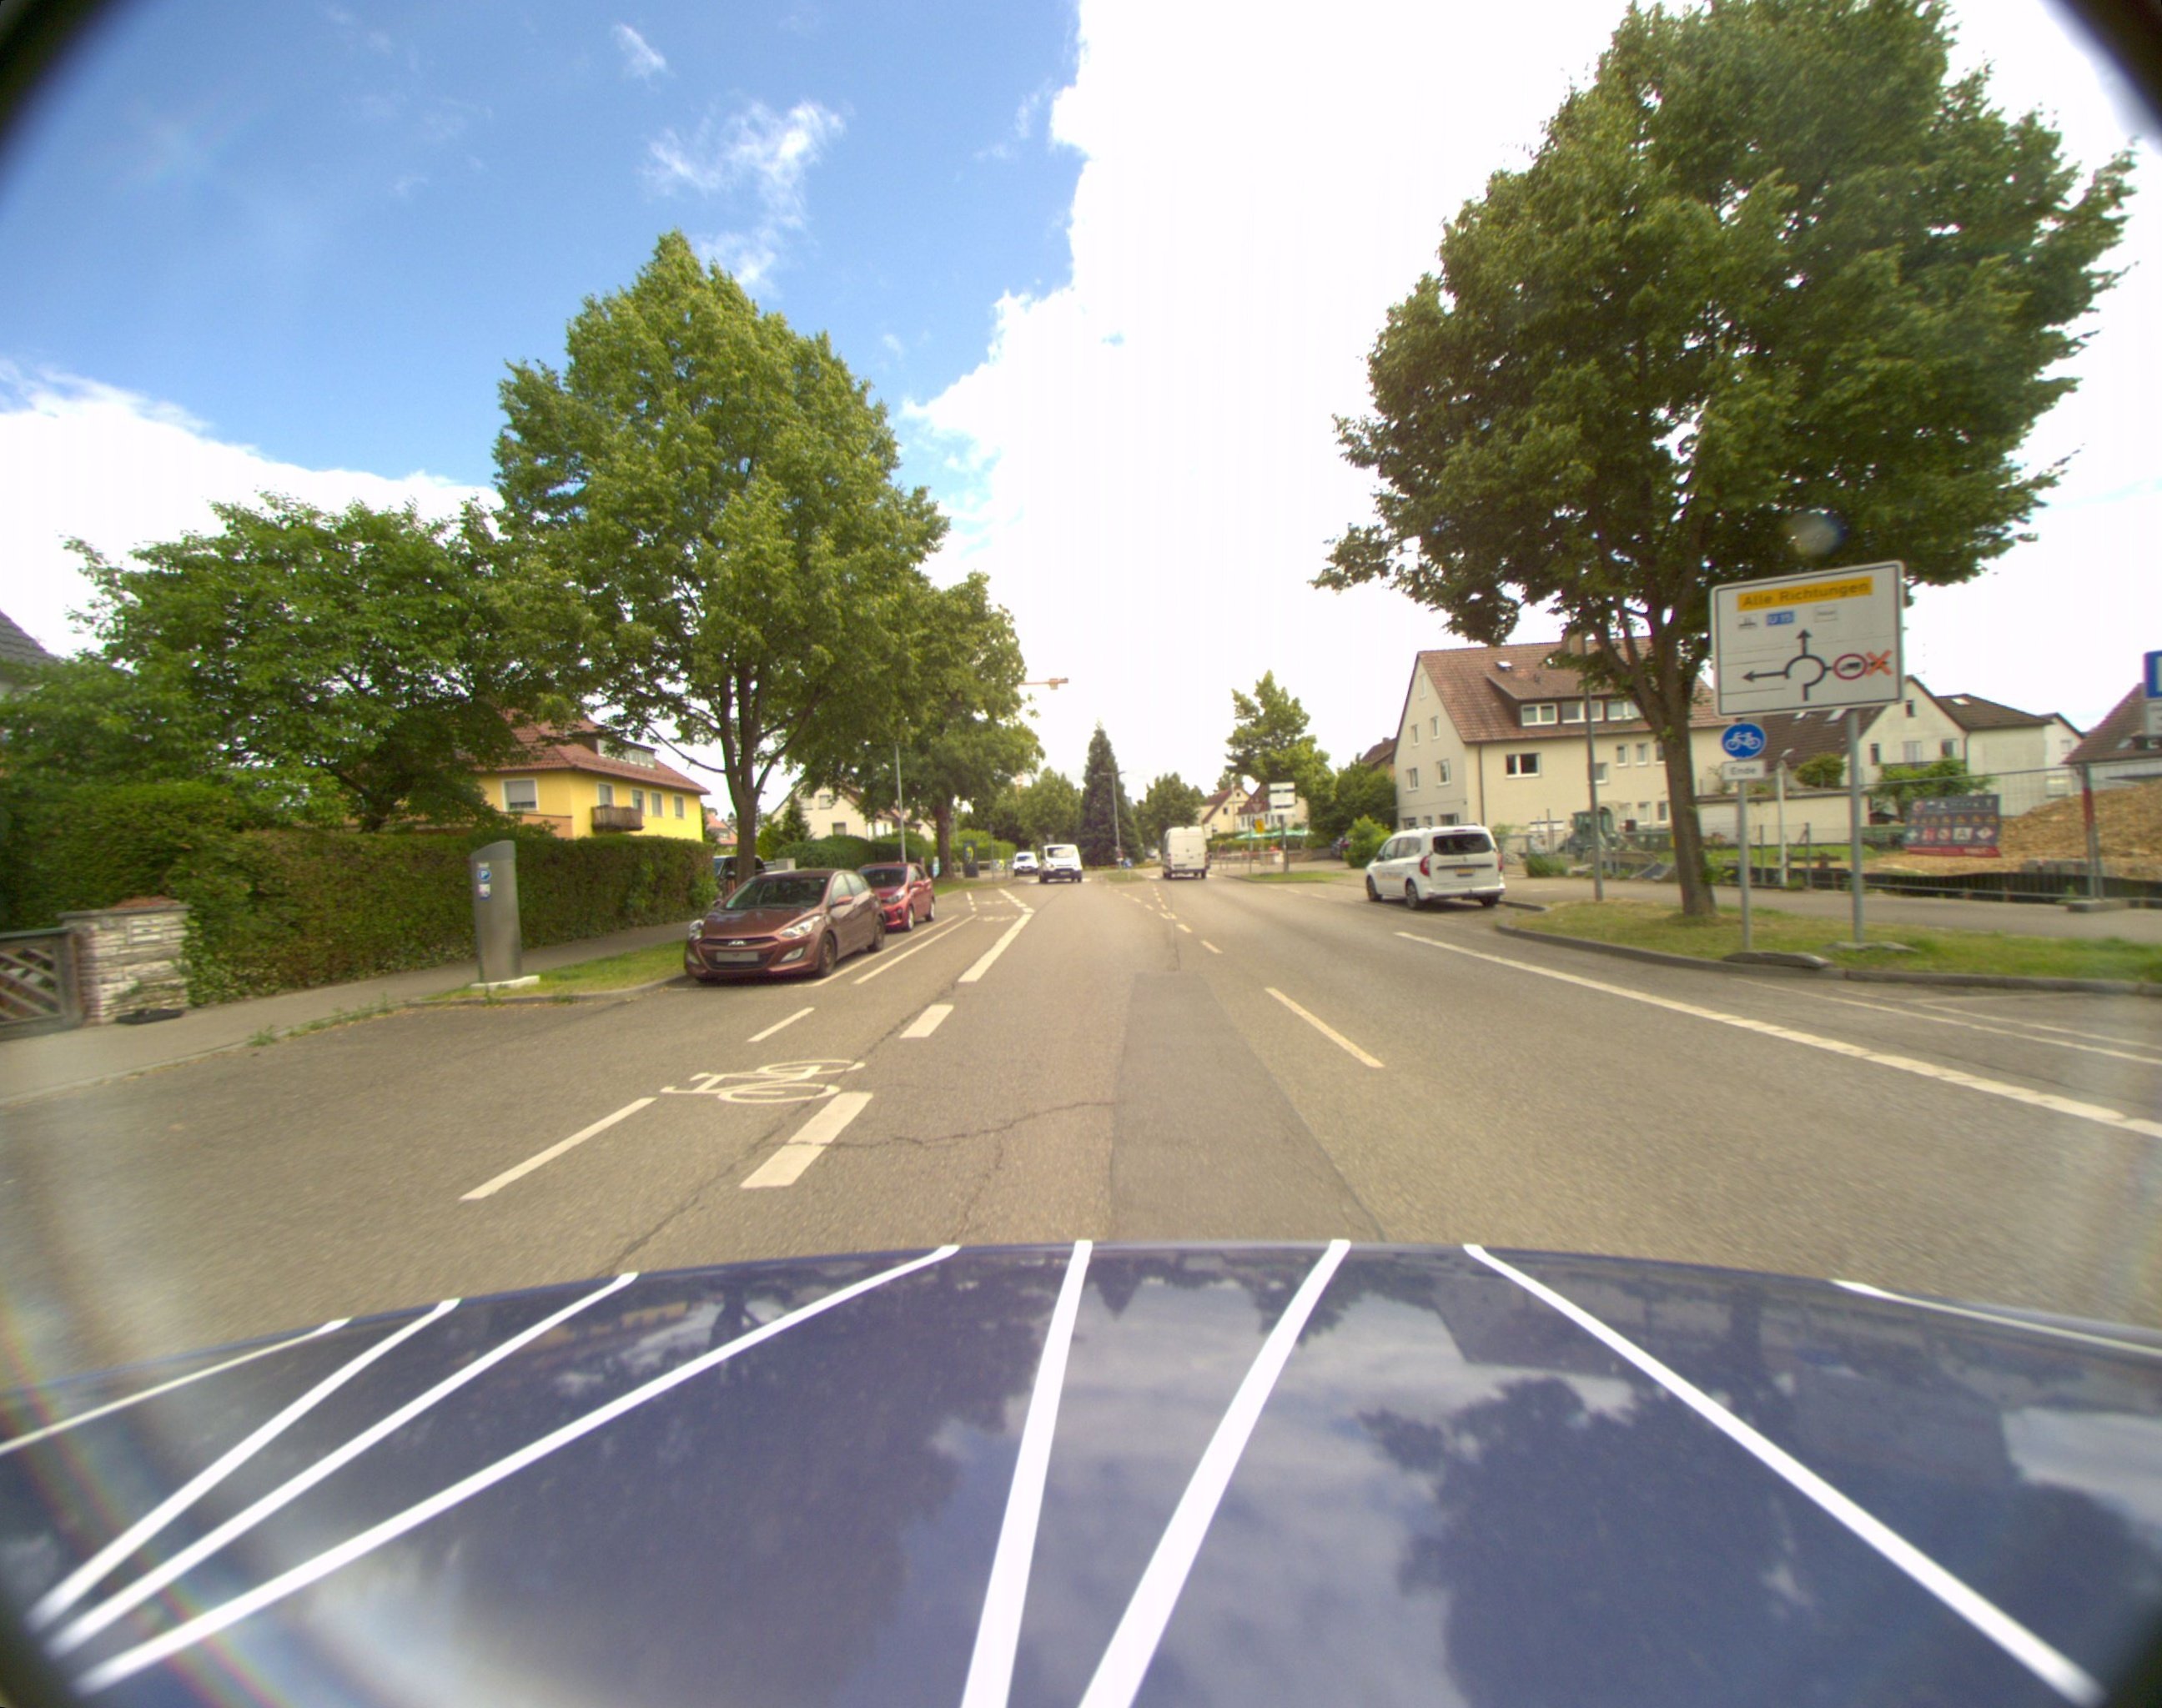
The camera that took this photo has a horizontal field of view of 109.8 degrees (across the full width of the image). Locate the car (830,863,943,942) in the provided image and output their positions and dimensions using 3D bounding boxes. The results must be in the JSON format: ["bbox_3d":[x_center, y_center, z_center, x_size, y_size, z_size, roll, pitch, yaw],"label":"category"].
[{"bbox_3d":[-4.296,1.009,17.321,1.569,1.447,3.668,-3,1,0],"label":"car"}]

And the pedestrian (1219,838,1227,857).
[{"bbox_3d":[14.632,-0.673,78.093,0.636,1.816,0.567,-4,1,19],"label":"pedestrian"}]

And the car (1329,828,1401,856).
[{"bbox_3d":[18.372,-0.780,49.301,3.928,1.527,1.819,-4,2,1],"label":"car"}]

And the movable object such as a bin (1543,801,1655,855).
[{"bbox_3d":[22.961,-1.100,33.917,1.901,2.175,4.361,-3,1,-2],"label":"movable object such as a bin"}]

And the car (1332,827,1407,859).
[{"bbox_3d":[17.769,-0.722,46.900,3.926,1.653,1.855,-4,2,5],"label":"car"}]

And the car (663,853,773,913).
[{"bbox_3d":[-13.340,1.003,28.286,1.820,1.870,4.467,-4,1,0],"label":"car"}]

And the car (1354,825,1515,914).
[{"bbox_3d":[8.160,0.303,18.060,1.774,1.760,4.551,-3,1,2],"label":"car"}]

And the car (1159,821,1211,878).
[{"bbox_3d":[5.424,-0.249,40.267,2.024,2.658,5.806,-3,1,2],"label":"car"}]

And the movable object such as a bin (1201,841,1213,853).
[{"bbox_3d":[15.233,-0.810,92.238,0.984,1.408,2.722,-3,0,1],"label":"movable object such as a bin"}]

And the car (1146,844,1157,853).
[{"bbox_3d":[13.034,-1.018,140.594,1.665,1.467,3.746,-3,1,0],"label":"car"}]

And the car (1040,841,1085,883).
[{"bbox_3d":[-1.076,0.390,40.520,1.999,2.002,5.047,-3,1,-5],"label":"car"}]

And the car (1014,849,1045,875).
[{"bbox_3d":[-3.904,0.565,58.087,1.926,1.744,4.000,-3,1,2],"label":"car"}]

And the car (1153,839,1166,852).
[{"bbox_3d":[11.445,-1.274,111.455,1.750,1.819,4.049,-3,0,5],"label":"car"}]

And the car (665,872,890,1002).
[{"bbox_3d":[-4.203,1.062,11.320,1.657,1.408,4.176,-2,1,0],"label":"car"}]

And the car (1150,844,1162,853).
[{"bbox_3d":[13.180,-0.944,133.178,1.665,1.467,3.746,-3,1,0],"label":"car"}]
